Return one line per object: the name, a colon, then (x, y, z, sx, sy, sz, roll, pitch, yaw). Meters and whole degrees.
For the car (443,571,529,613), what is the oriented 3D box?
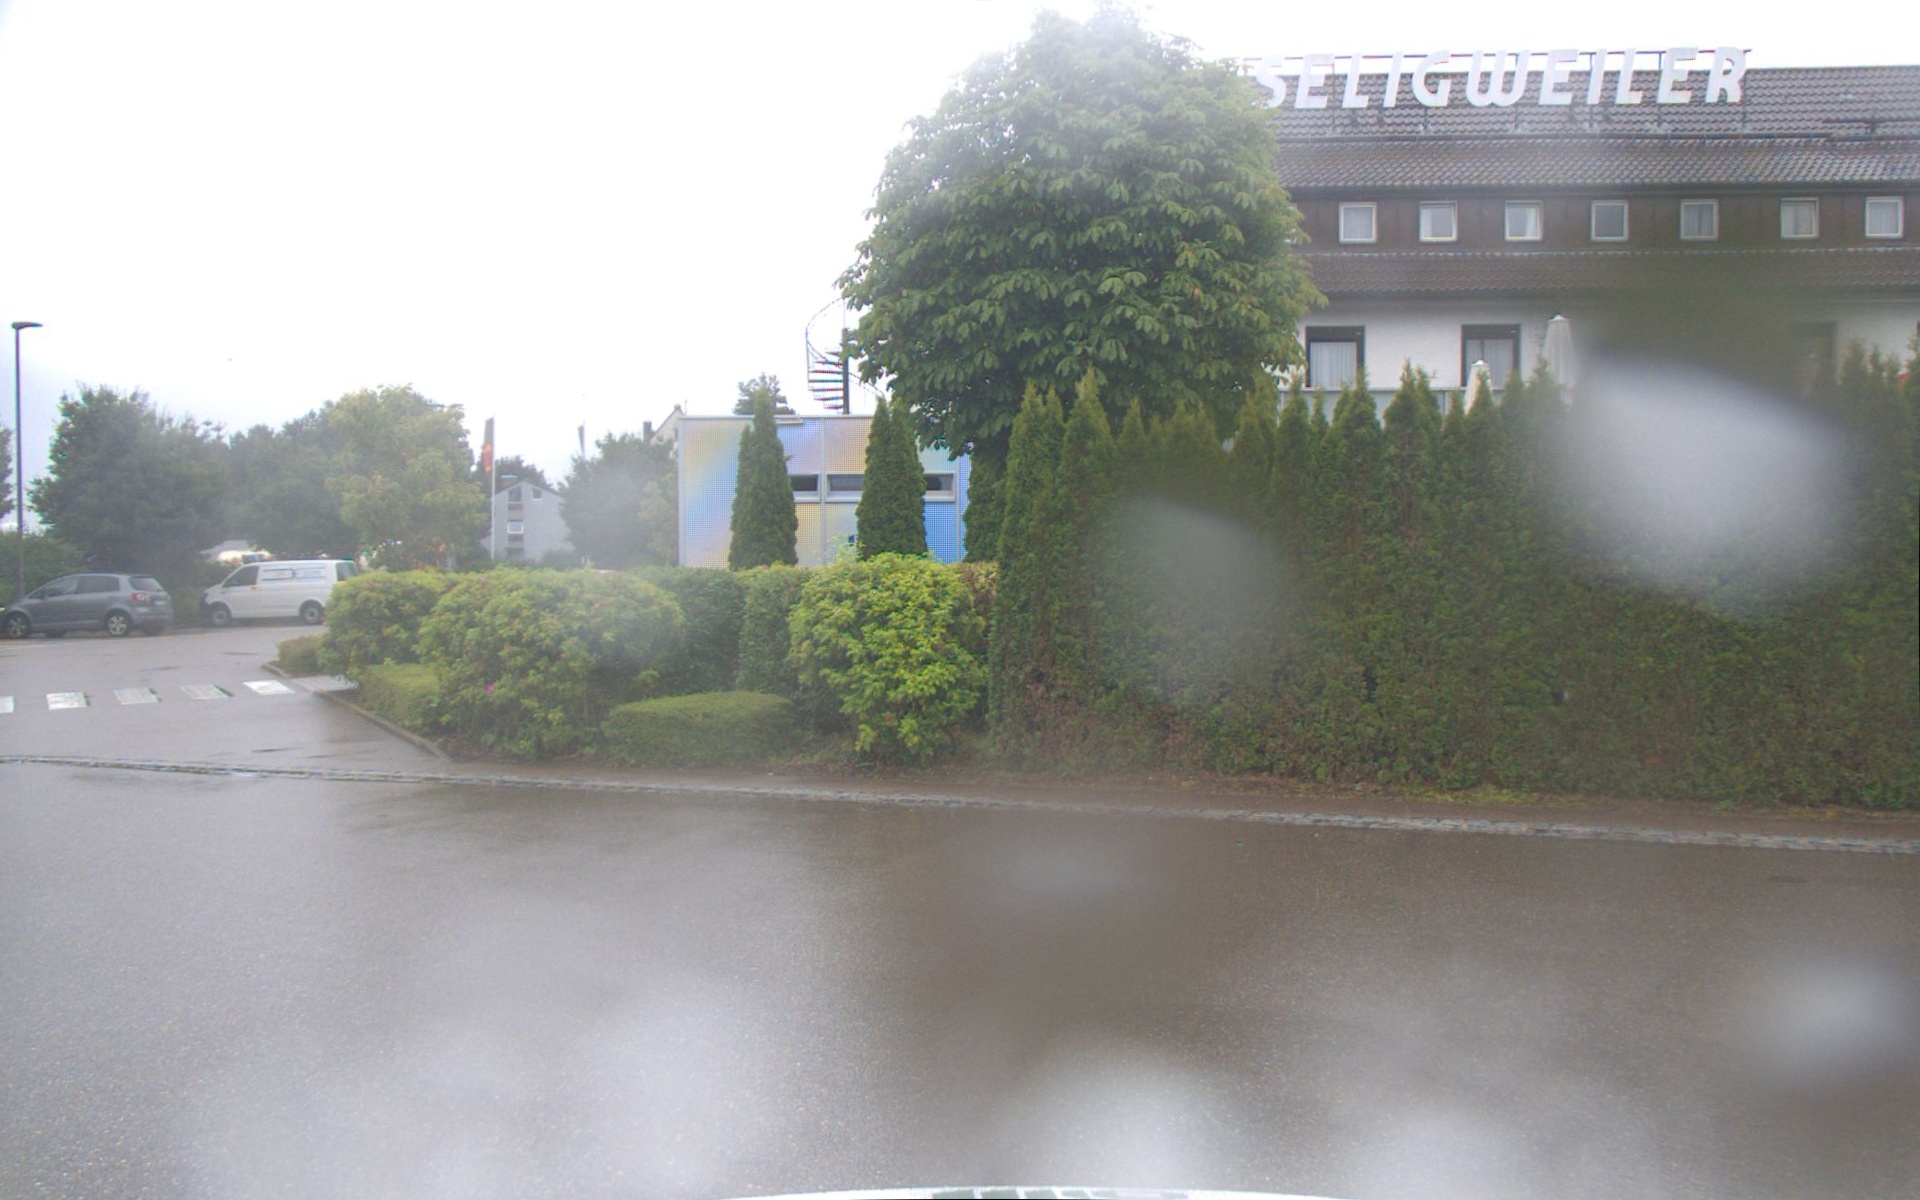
car: (-17.531, -0.291, 61.115, 1.573, 1.483, 3.621, -3, 2, -43)

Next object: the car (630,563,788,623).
car: (-6.996, -0.214, 46.425, 4.089, 1.523, 1.718, -2, 1, 2)

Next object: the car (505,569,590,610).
car: (-15.779, -0.411, 63.245, 1.573, 1.483, 3.621, -3, 2, -43)

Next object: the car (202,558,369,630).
car: (-20.827, -0.209, 51.167, 4.426, 2.068, 1.646, -1, 1, 2)

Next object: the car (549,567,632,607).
car: (-14.548, -0.502, 65.018, 1.573, 1.483, 3.621, -3, 2, -43)

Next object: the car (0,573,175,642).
car: (-21.705, 0.184, 41.130, 3.654, 1.578, 1.451, -1, 1, 2)
